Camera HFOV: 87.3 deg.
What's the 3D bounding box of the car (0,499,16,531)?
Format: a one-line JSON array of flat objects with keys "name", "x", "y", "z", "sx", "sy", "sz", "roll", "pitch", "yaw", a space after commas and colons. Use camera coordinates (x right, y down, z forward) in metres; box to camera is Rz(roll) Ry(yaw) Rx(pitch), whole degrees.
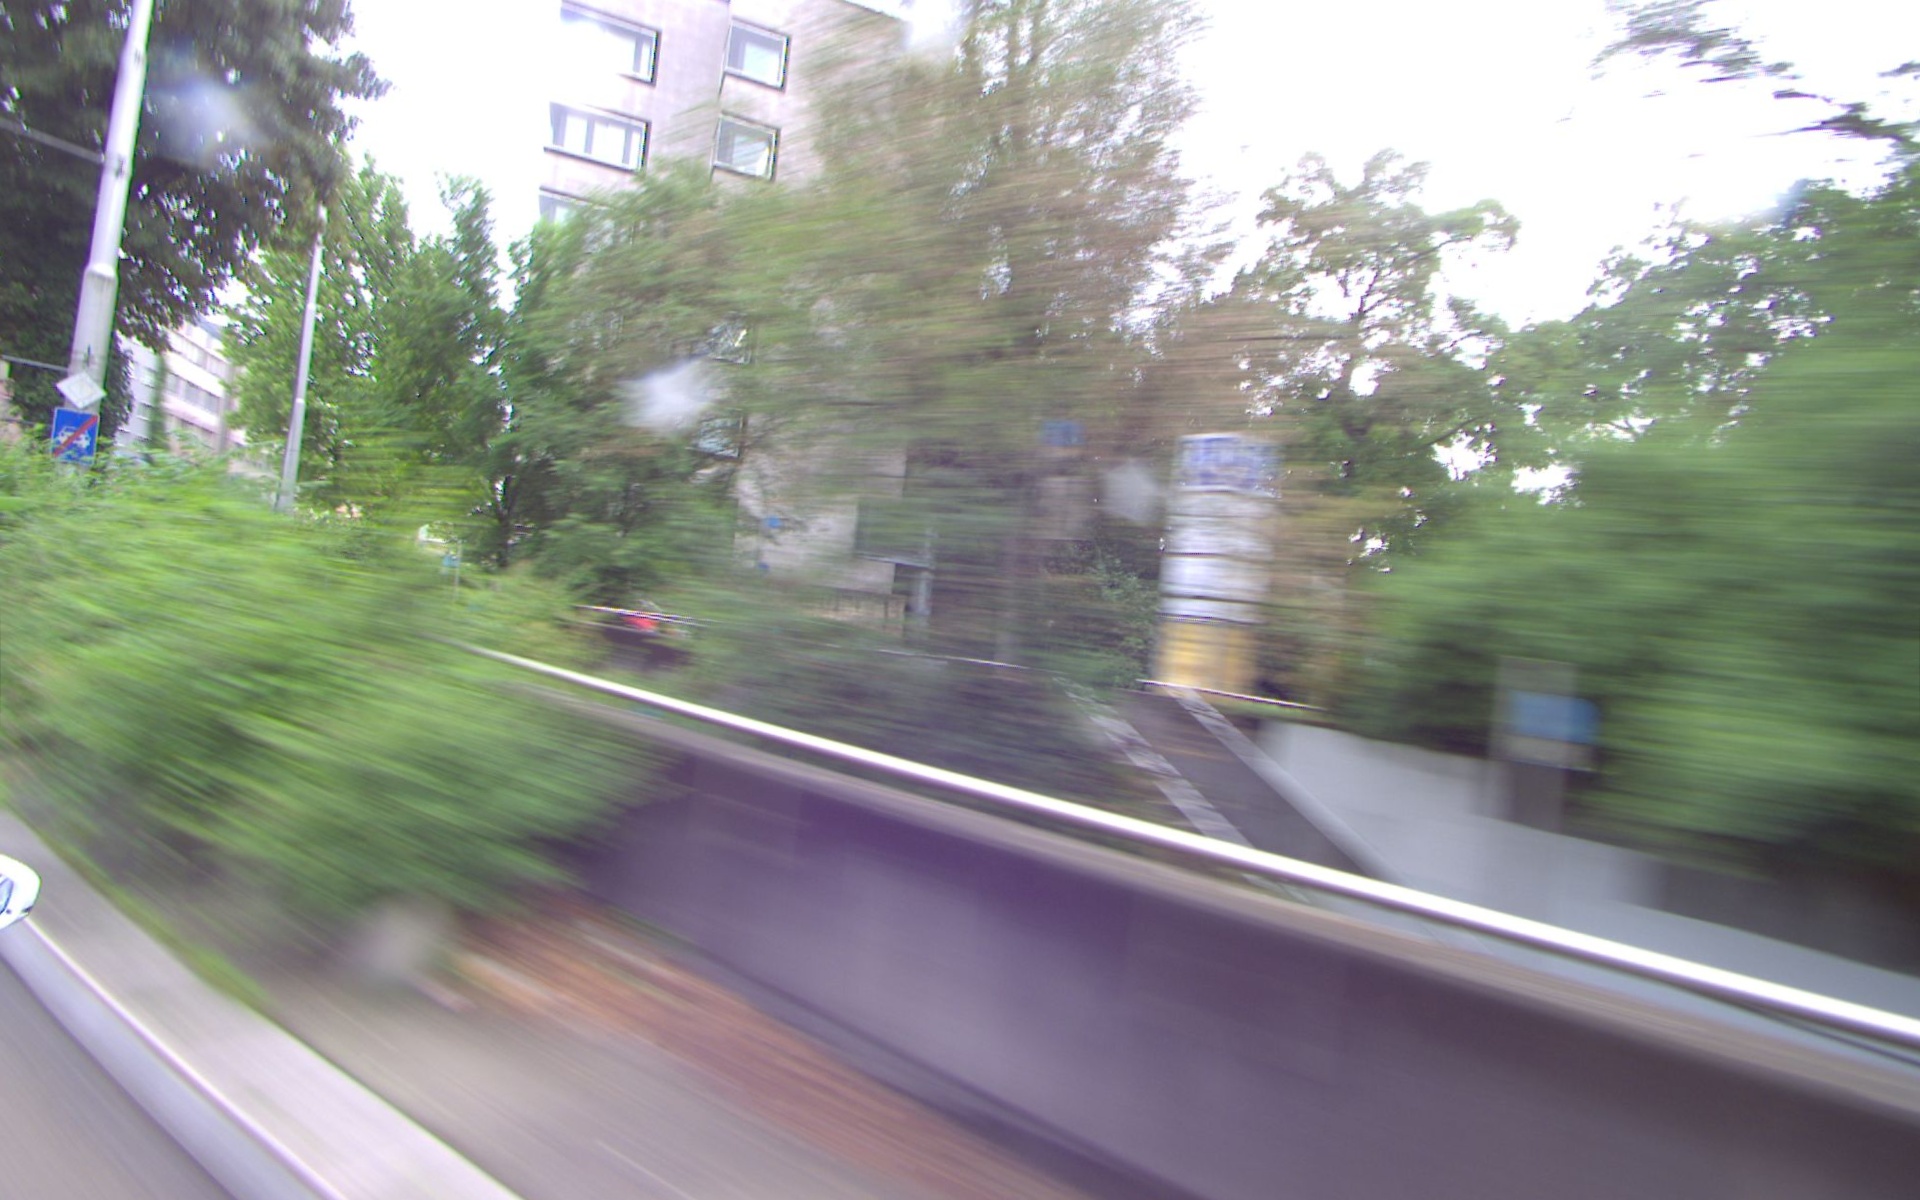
[{"name": "car", "x": -44.972, "y": -4.058, "z": 45.559, "sx": 1.747, "sy": 1.433, "sz": 4.065, "roll": 6, "pitch": -2, "yaw": -21}]
